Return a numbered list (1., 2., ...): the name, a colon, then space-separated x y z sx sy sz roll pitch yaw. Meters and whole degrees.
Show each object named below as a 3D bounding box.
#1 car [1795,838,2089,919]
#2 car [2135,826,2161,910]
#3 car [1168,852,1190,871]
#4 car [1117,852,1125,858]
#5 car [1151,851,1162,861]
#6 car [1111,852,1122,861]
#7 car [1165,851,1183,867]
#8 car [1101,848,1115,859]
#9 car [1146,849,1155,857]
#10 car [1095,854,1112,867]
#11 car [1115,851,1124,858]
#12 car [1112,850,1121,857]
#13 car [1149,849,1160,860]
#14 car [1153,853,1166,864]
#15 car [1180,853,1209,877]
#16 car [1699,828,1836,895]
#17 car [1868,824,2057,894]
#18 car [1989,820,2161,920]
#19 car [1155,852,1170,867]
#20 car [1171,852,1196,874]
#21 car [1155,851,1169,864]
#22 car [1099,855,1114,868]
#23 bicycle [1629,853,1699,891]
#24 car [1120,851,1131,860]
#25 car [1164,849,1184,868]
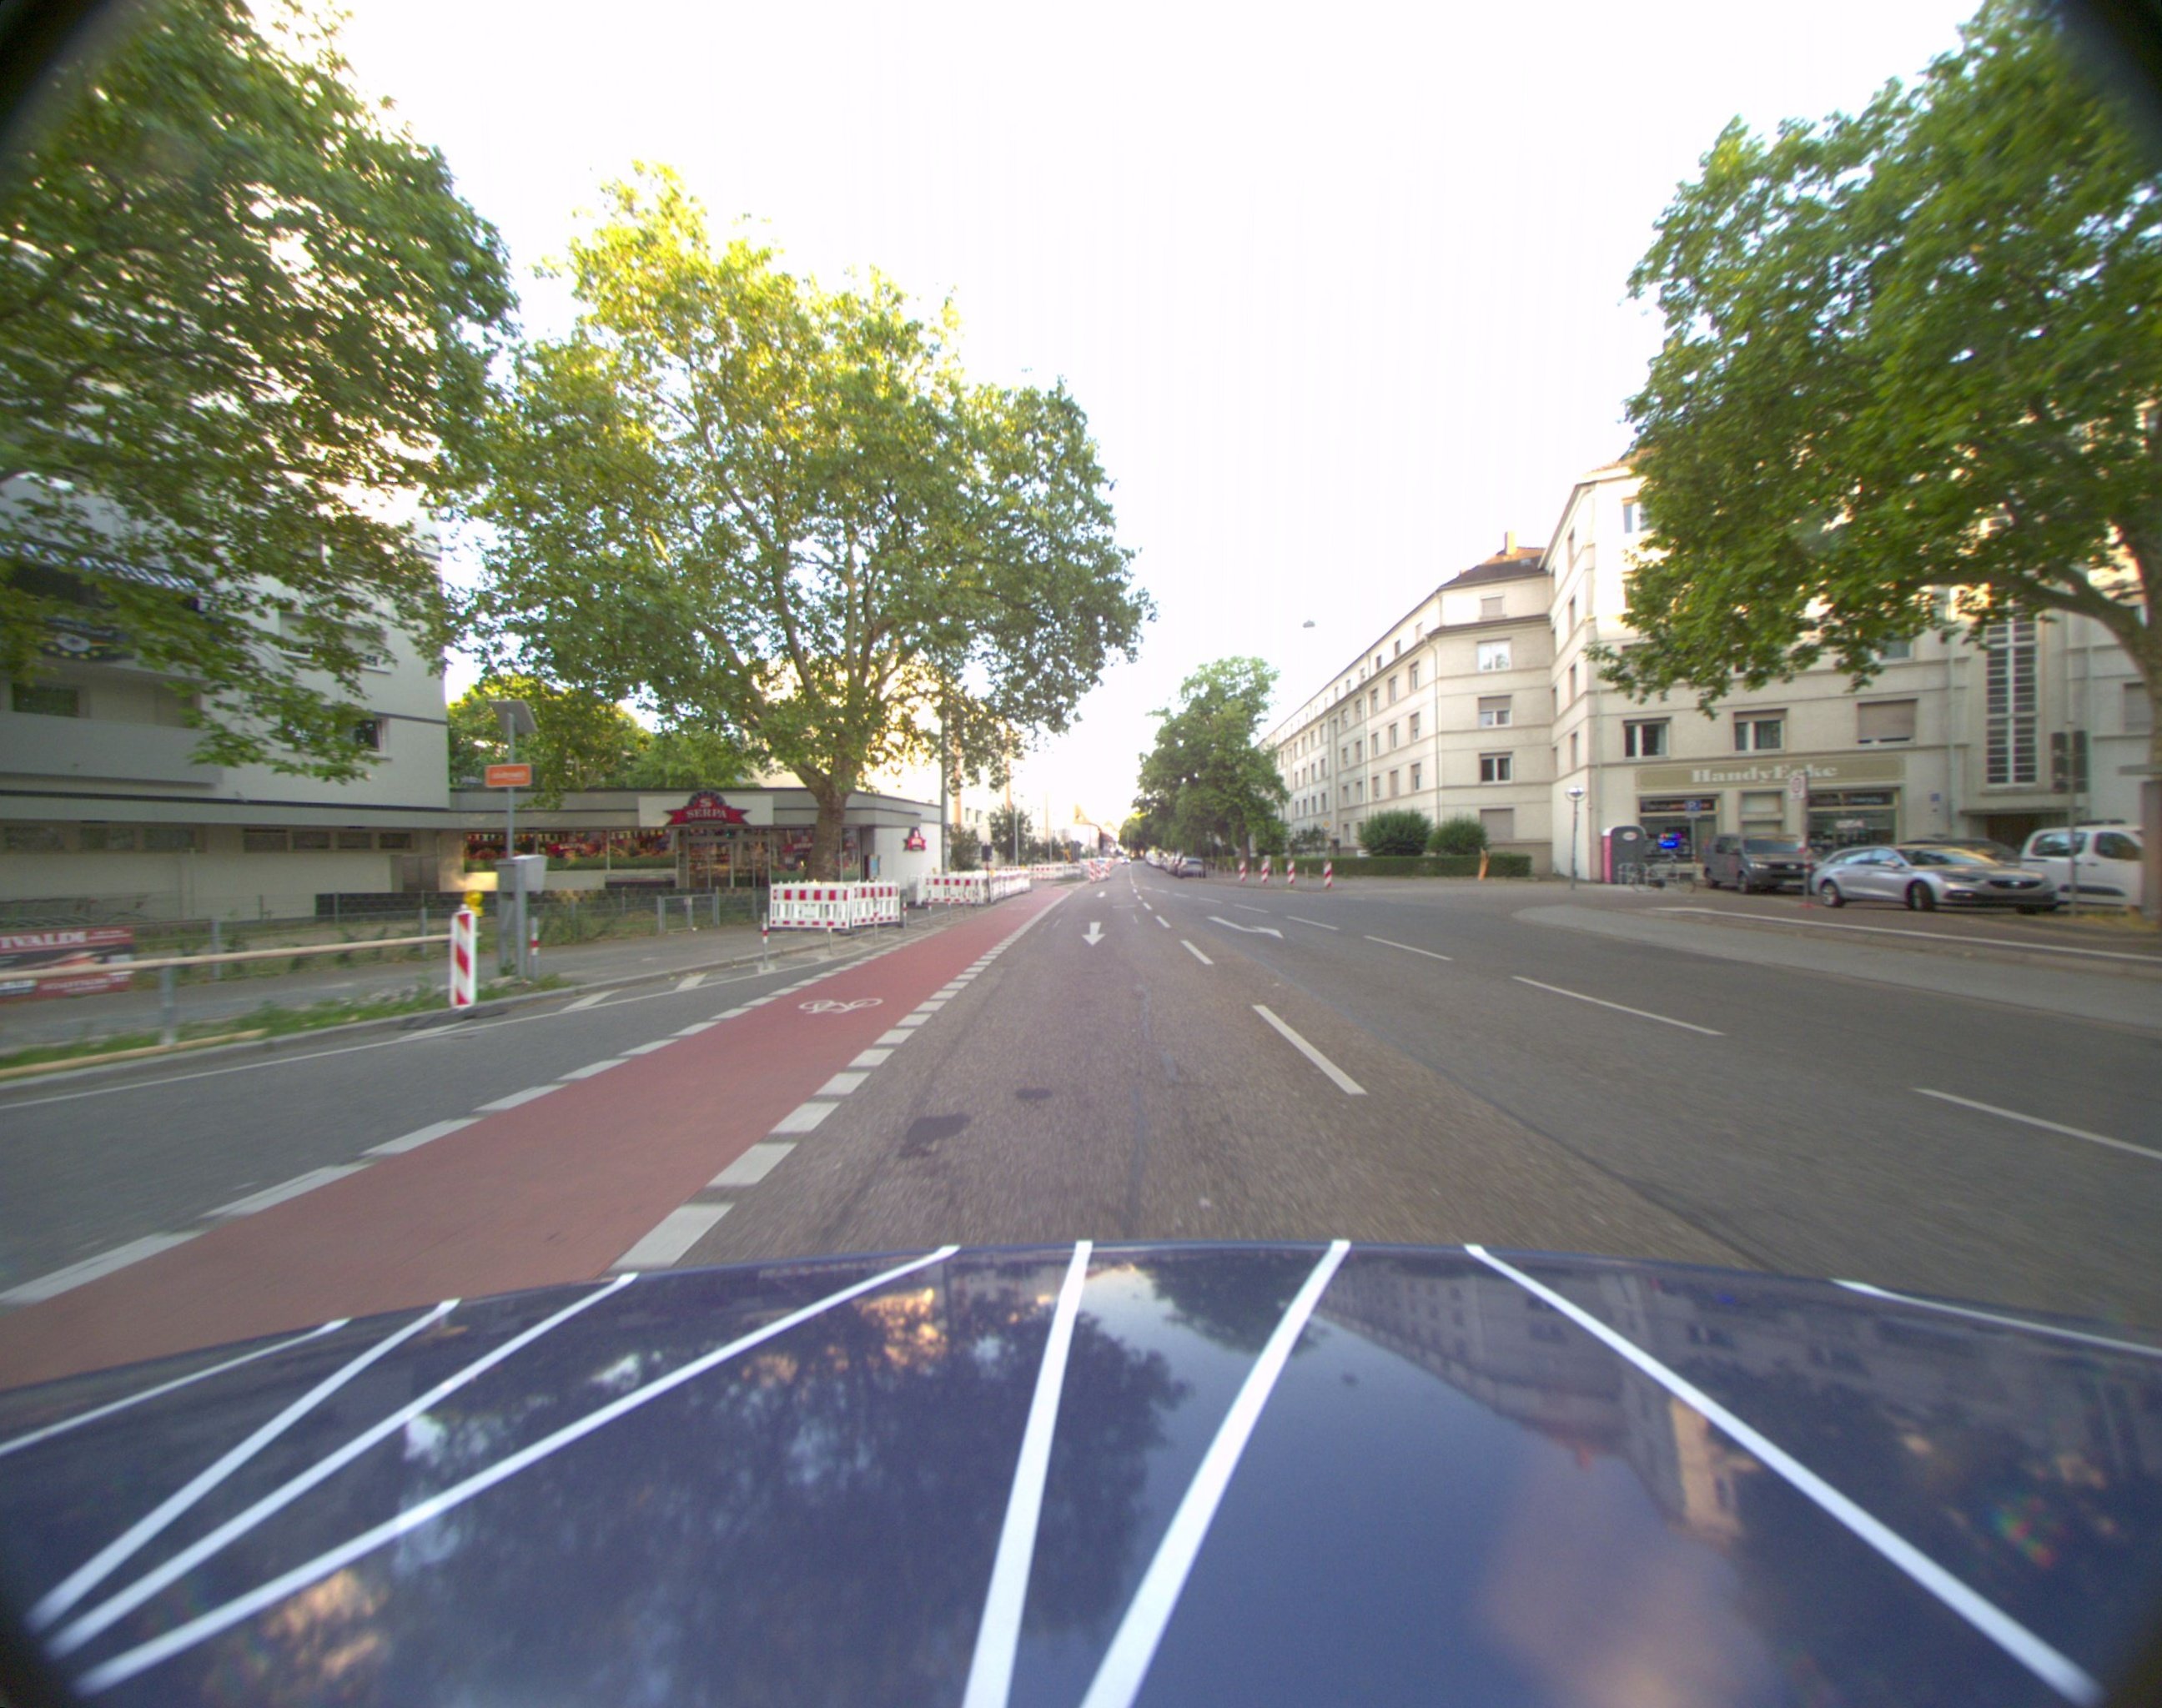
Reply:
1. car: 18.181 0.481 16.470 1.996 1.494 4.647 0 -1 15
2. car: 23.232 0.268 14.152 1.995 1.771 4.649 0 -1 21
3. car: 9.135 0.668 71.276 1.892 1.591 4.260 -2 1 6
4. car: 10.900 0.207 207.510 1.892 1.591 4.260 -2 1 6
5. car: 13.353 0.369 134.604 1.892 1.591 4.260 -2 1 6
6. car: 7.417 0.496 158.040 1.892 1.591 4.260 -2 1 6
7. car: 10.106 0.501 82.763 1.892 1.591 4.260 -2 1 6
8. car: 4.387 -0.168 123.656 1.892 1.651 4.260 -2 1 6
9. car: 15.465 -0.214 167.886 1.892 1.591 4.260 -2 1 6
10. car: 3.056 0.901 102.856 1.892 1.591 4.260 -2 1 6
11. car: 10.084 0.183 198.287 1.892 1.591 4.260 -2 1 6
12. car: 8.786 -0.087 186.652 1.892 1.591 4.260 -2 1 6
13. car: 14.006 0.053 144.345 1.892 1.868 4.947 -2 1 6
14. car: 12.315 0.673 119.682 1.892 1.591 4.260 -2 1 6
15. car: 8.305 0.768 56.007 1.892 1.591 4.001 -2 1 6
16. car: 22.674 0.155 25.346 1.995 1.945 4.647 0 3 24
17. car: 27.178 0.058 23.702 1.995 1.945 4.647 0 3 24
18. car: 20.764 0.307 14.786 1.995 1.771 4.649 0 -1 21
19. car: 11.050 0.770 102.892 1.892 1.815 4.260 -2 1 6
20. car: 8.579 0.703 63.954 1.892 1.681 4.260 -2 1 6
21. car: 11.731 0.492 110.012 1.892 1.855 4.260 -2 1 6
22. car: 3.884 1.096 115.142 1.892 1.726 4.260 -2 1 6
23. bicycle: 19.462 0.597 25.409 1.802 1.199 0.648 -1 2 33
24. car: 9.681 0.352 163.871 1.997 1.838 4.002 -2 1 8
25. car: 9.416 0.466 77.222 1.892 1.764 4.260 -2 1 6
